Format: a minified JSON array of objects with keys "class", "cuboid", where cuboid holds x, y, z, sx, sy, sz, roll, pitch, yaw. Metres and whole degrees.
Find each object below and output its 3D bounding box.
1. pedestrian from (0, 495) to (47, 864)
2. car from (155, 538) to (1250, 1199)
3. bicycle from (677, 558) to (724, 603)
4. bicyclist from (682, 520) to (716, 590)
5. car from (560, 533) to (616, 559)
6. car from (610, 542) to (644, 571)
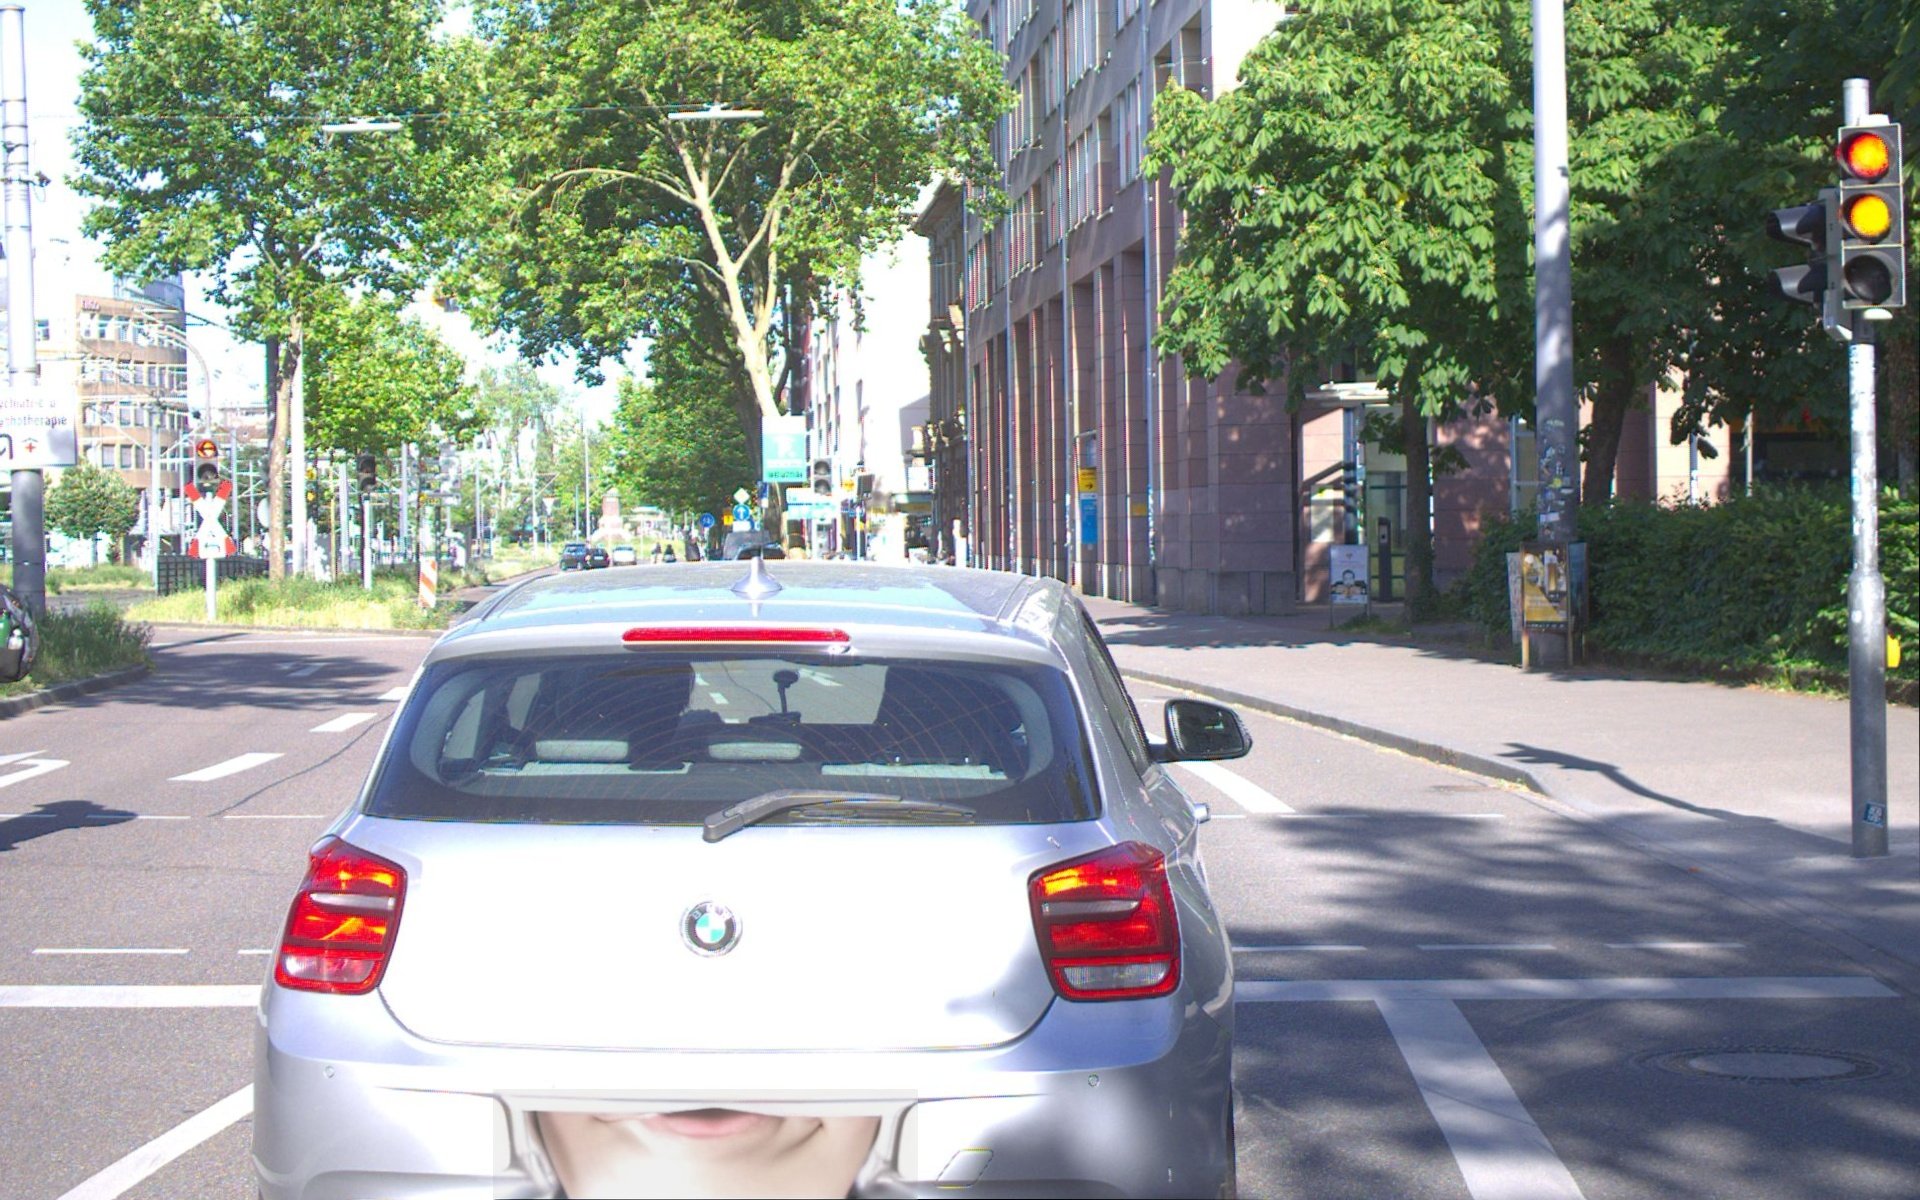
[{"class":"pedestrian","cuboid":[-4.568,0.345,15.343,0.940,1.623,0.629,0,1,-13]},{"class":"car","cuboid":[-0.329,0.602,7.359,1.730,1.385,3.840,1,2,3]},{"class":"bicycle","cuboid":[-6.256,-0.472,82.879,0.831,1.038,1.874,-1,1,5]},{"class":"bicyclist","cuboid":[-6.286,-1.085,82.864,0.658,1.651,0.765,-1,1,5]},{"class":"car","cuboid":[-22.629,-3.277,208.929,1.993,1.481,4.000,-1,1,-29]},{"class":"car","cuboid":[-23.802,-3.091,245.593,1.993,2.007,4.000,1,0,0]}]
